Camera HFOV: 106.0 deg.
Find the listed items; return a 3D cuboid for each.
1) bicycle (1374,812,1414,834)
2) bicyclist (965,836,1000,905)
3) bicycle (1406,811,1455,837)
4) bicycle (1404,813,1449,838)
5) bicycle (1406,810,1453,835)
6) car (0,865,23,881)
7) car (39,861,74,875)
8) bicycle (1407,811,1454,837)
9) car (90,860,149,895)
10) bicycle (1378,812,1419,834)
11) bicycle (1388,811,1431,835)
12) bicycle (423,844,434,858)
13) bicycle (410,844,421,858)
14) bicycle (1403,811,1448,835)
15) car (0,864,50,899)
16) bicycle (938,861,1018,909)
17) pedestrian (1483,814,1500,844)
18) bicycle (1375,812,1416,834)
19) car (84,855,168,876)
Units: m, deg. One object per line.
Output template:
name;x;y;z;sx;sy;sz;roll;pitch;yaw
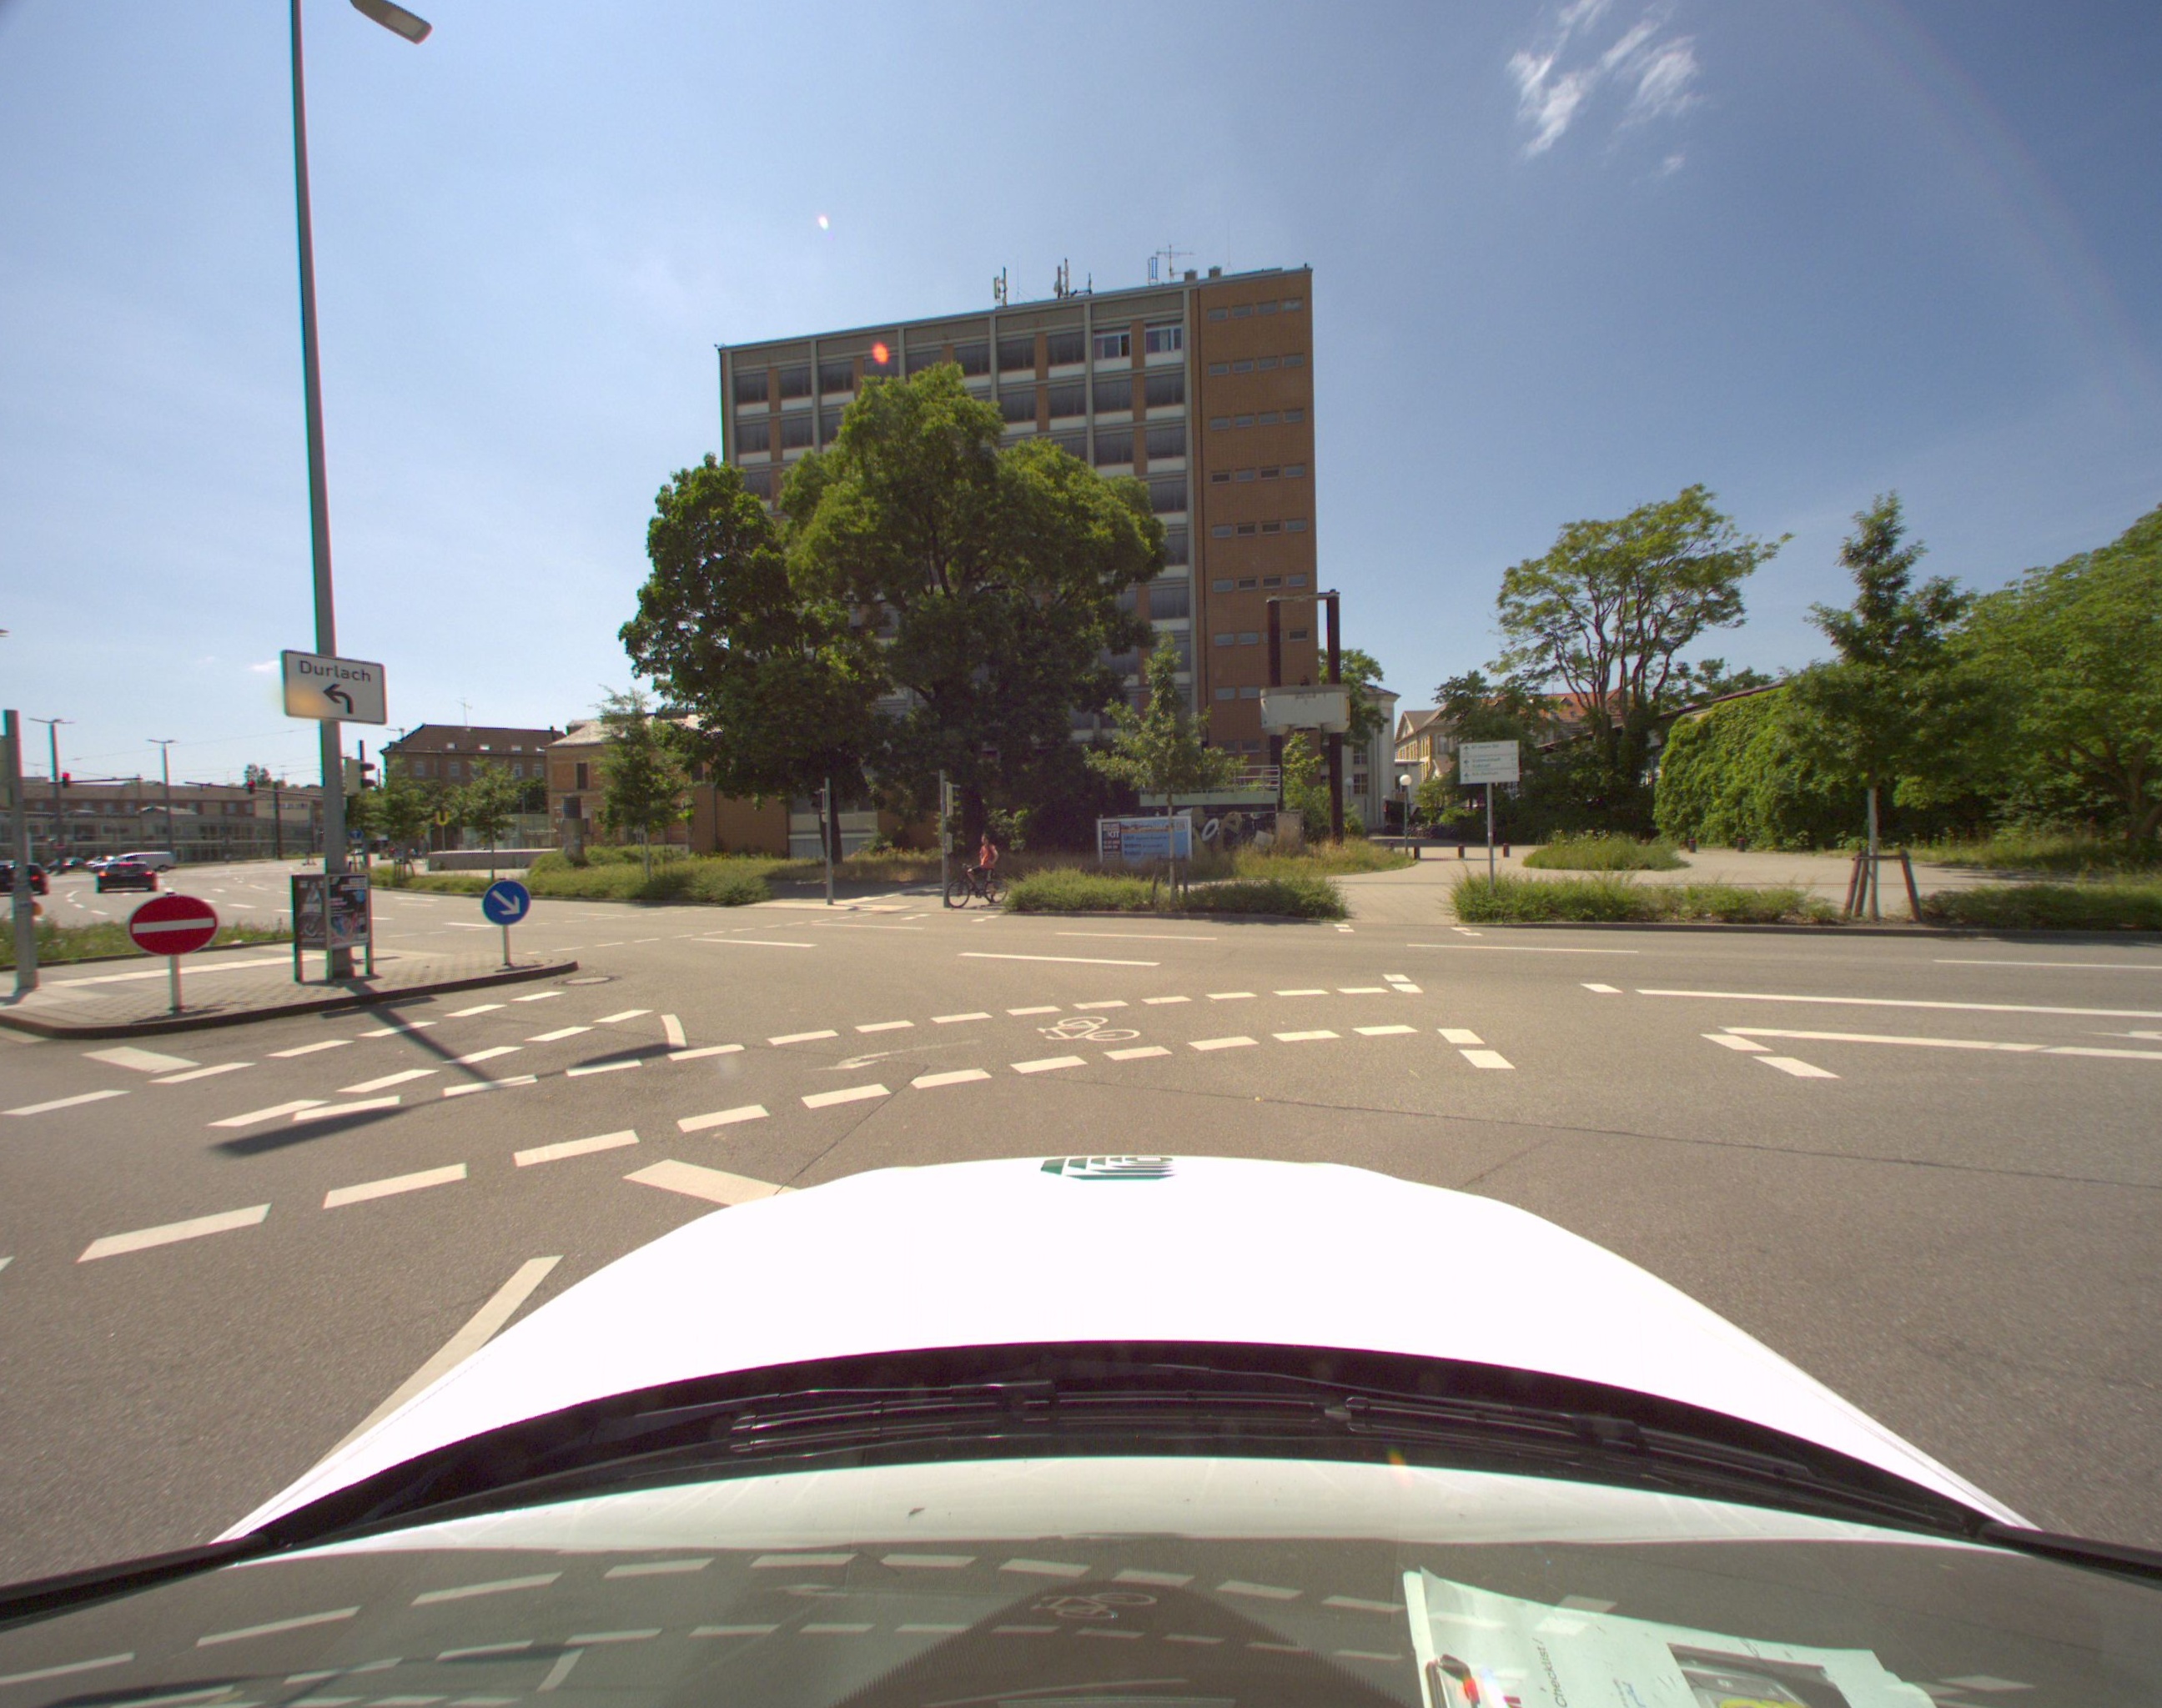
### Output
bicycle;29.506;-2.898;76.813;3.423;2.013;0.763;1;2;13
bicyclist;-2.530;0.415;20.931;0.706;1.715;0.545;-3;4;-37
bicycle;27.423;-2.372;63.962;3.423;2.013;0.763;1;2;13
bicycle;28.913;-2.389;68.220;3.423;2.013;0.763;1;2;13
bicycle;28.478;-2.579;66.587;3.423;2.013;0.763;1;2;13
car;-100.568;1.780;75.534;1.631;1.390;4.083;-2;2;-32
car;-106.690;1.427;84.828;1.443;1.285;3.225;-1;3;-37
bicycle;28.037;-2.438;65.379;3.423;2.013;0.763;1;2;13
car;-47.198;1.123;39.995;4.528;1.556;1.733;0;2;40
bicycle;29.424;-2.859;75.453;3.423;2.013;0.763;1;2;13
bicycle;29.199;-2.761;72.394;3.423;2.013;0.763;1;2;13
bicycle;-89.385;-0.369;111.586;3.141;1.788;0.618;2;3;41
bicycle;-90.392;-0.413;110.542;3.141;1.788;0.618;2;3;41
bicycle;29.693;-2.697;70.269;3.423;2.013;0.763;1;2;13
car;-48.866;1.242;37.421;3.949;1.463;1.637;0;1;40
bicycle;-2.621;0.778;20.882;2.006;1.045;0.552;-4;4;-37
pedestrian;22.927;-1.392;45.505;0.635;1.665;0.709;1;2;11
bicycle;28.749;-2.829;74.582;3.423;2.013;0.763;1;2;13
car;-83.078;0.989;70.907;1.793;1.626;4.344;1;2;21
